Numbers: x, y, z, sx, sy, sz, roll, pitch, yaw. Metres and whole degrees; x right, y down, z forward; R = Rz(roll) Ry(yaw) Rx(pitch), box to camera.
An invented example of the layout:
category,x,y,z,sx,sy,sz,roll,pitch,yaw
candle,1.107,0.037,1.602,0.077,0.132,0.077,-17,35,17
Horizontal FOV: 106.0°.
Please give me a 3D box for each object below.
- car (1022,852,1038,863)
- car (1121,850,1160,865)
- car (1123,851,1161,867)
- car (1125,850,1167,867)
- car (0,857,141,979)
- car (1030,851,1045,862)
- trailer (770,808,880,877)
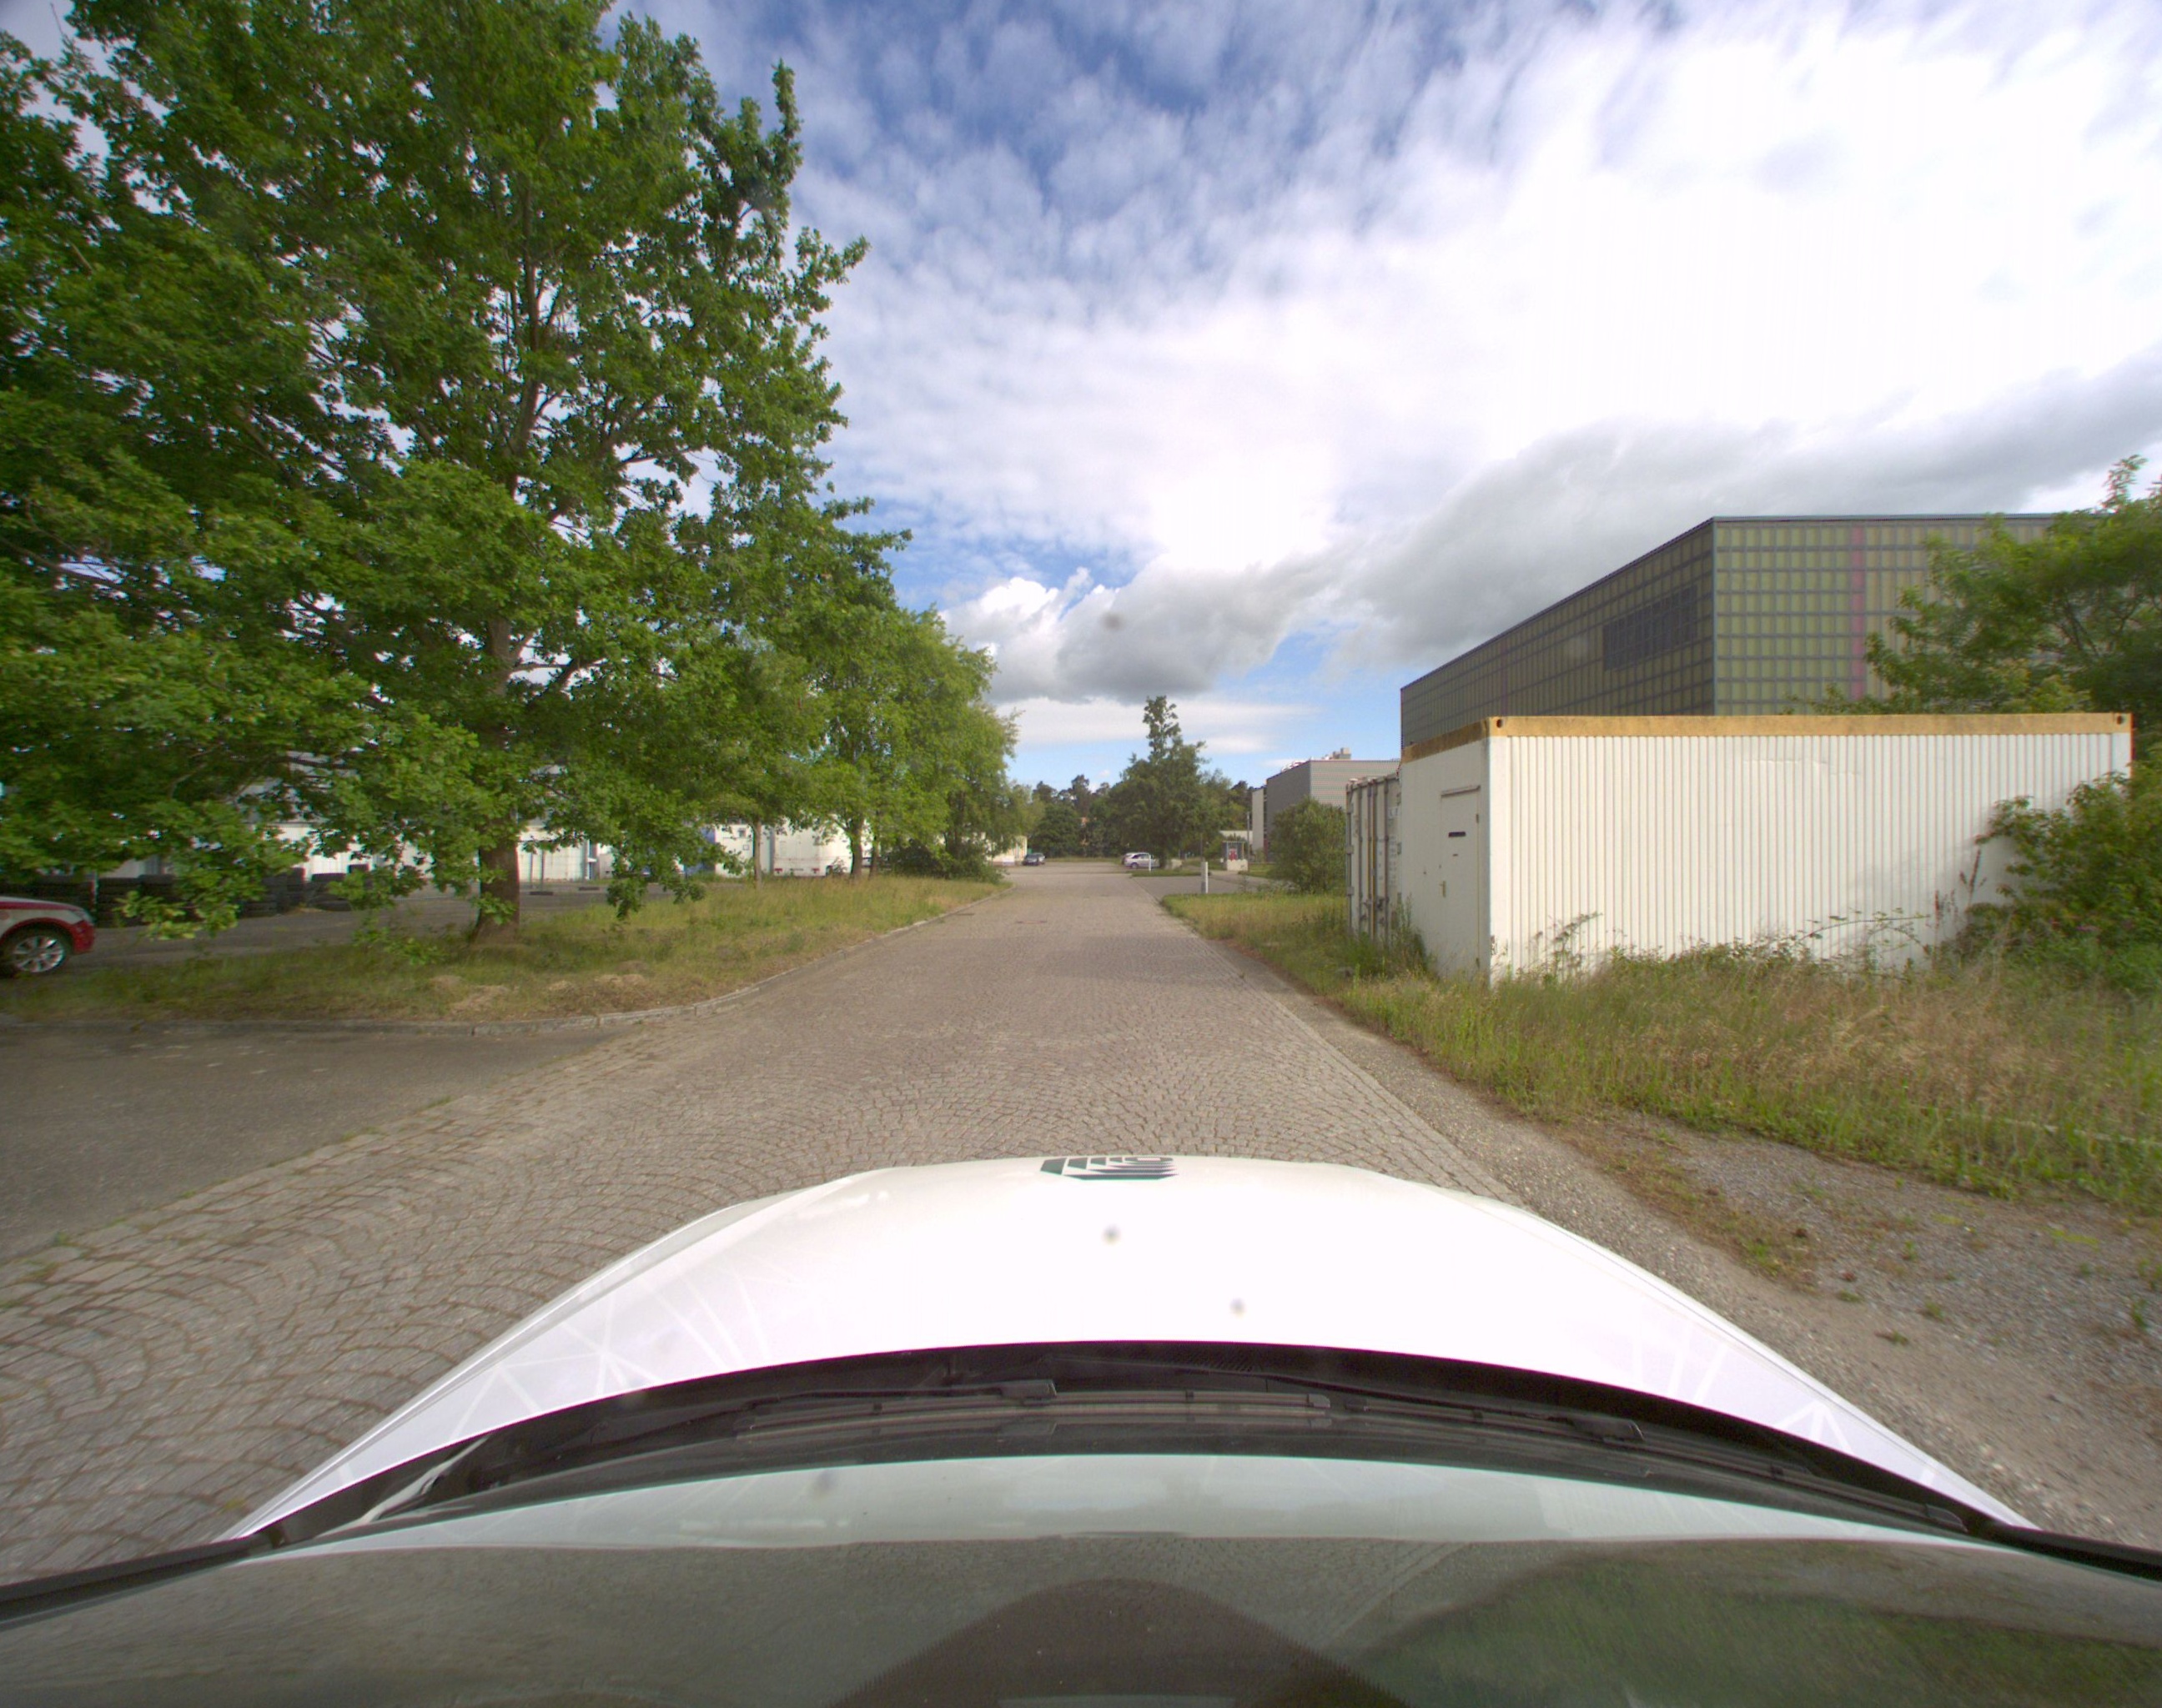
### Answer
category,x,y,z,sx,sy,sz,roll,pitch,yaw
car,-6.139,0.427,98.870,1.642,1.369,3.999,0,0,1
car,6.225,0.360,85.000,3.970,1.475,1.654,-2,0,1
car,5.752,0.498,77.177,3.509,1.362,1.623,-2,0,1
car,6.351,0.419,79.865,3.970,1.448,1.654,-2,0,1
car,-13.773,0.790,9.075,1.617,1.433,4.072,0,1,7
car,-5.805,0.304,109.211,1.642,1.458,3.999,0,0,1
trailer,-14.535,-0.624,47.280,2.614,3.598,10.187,0,0,3
